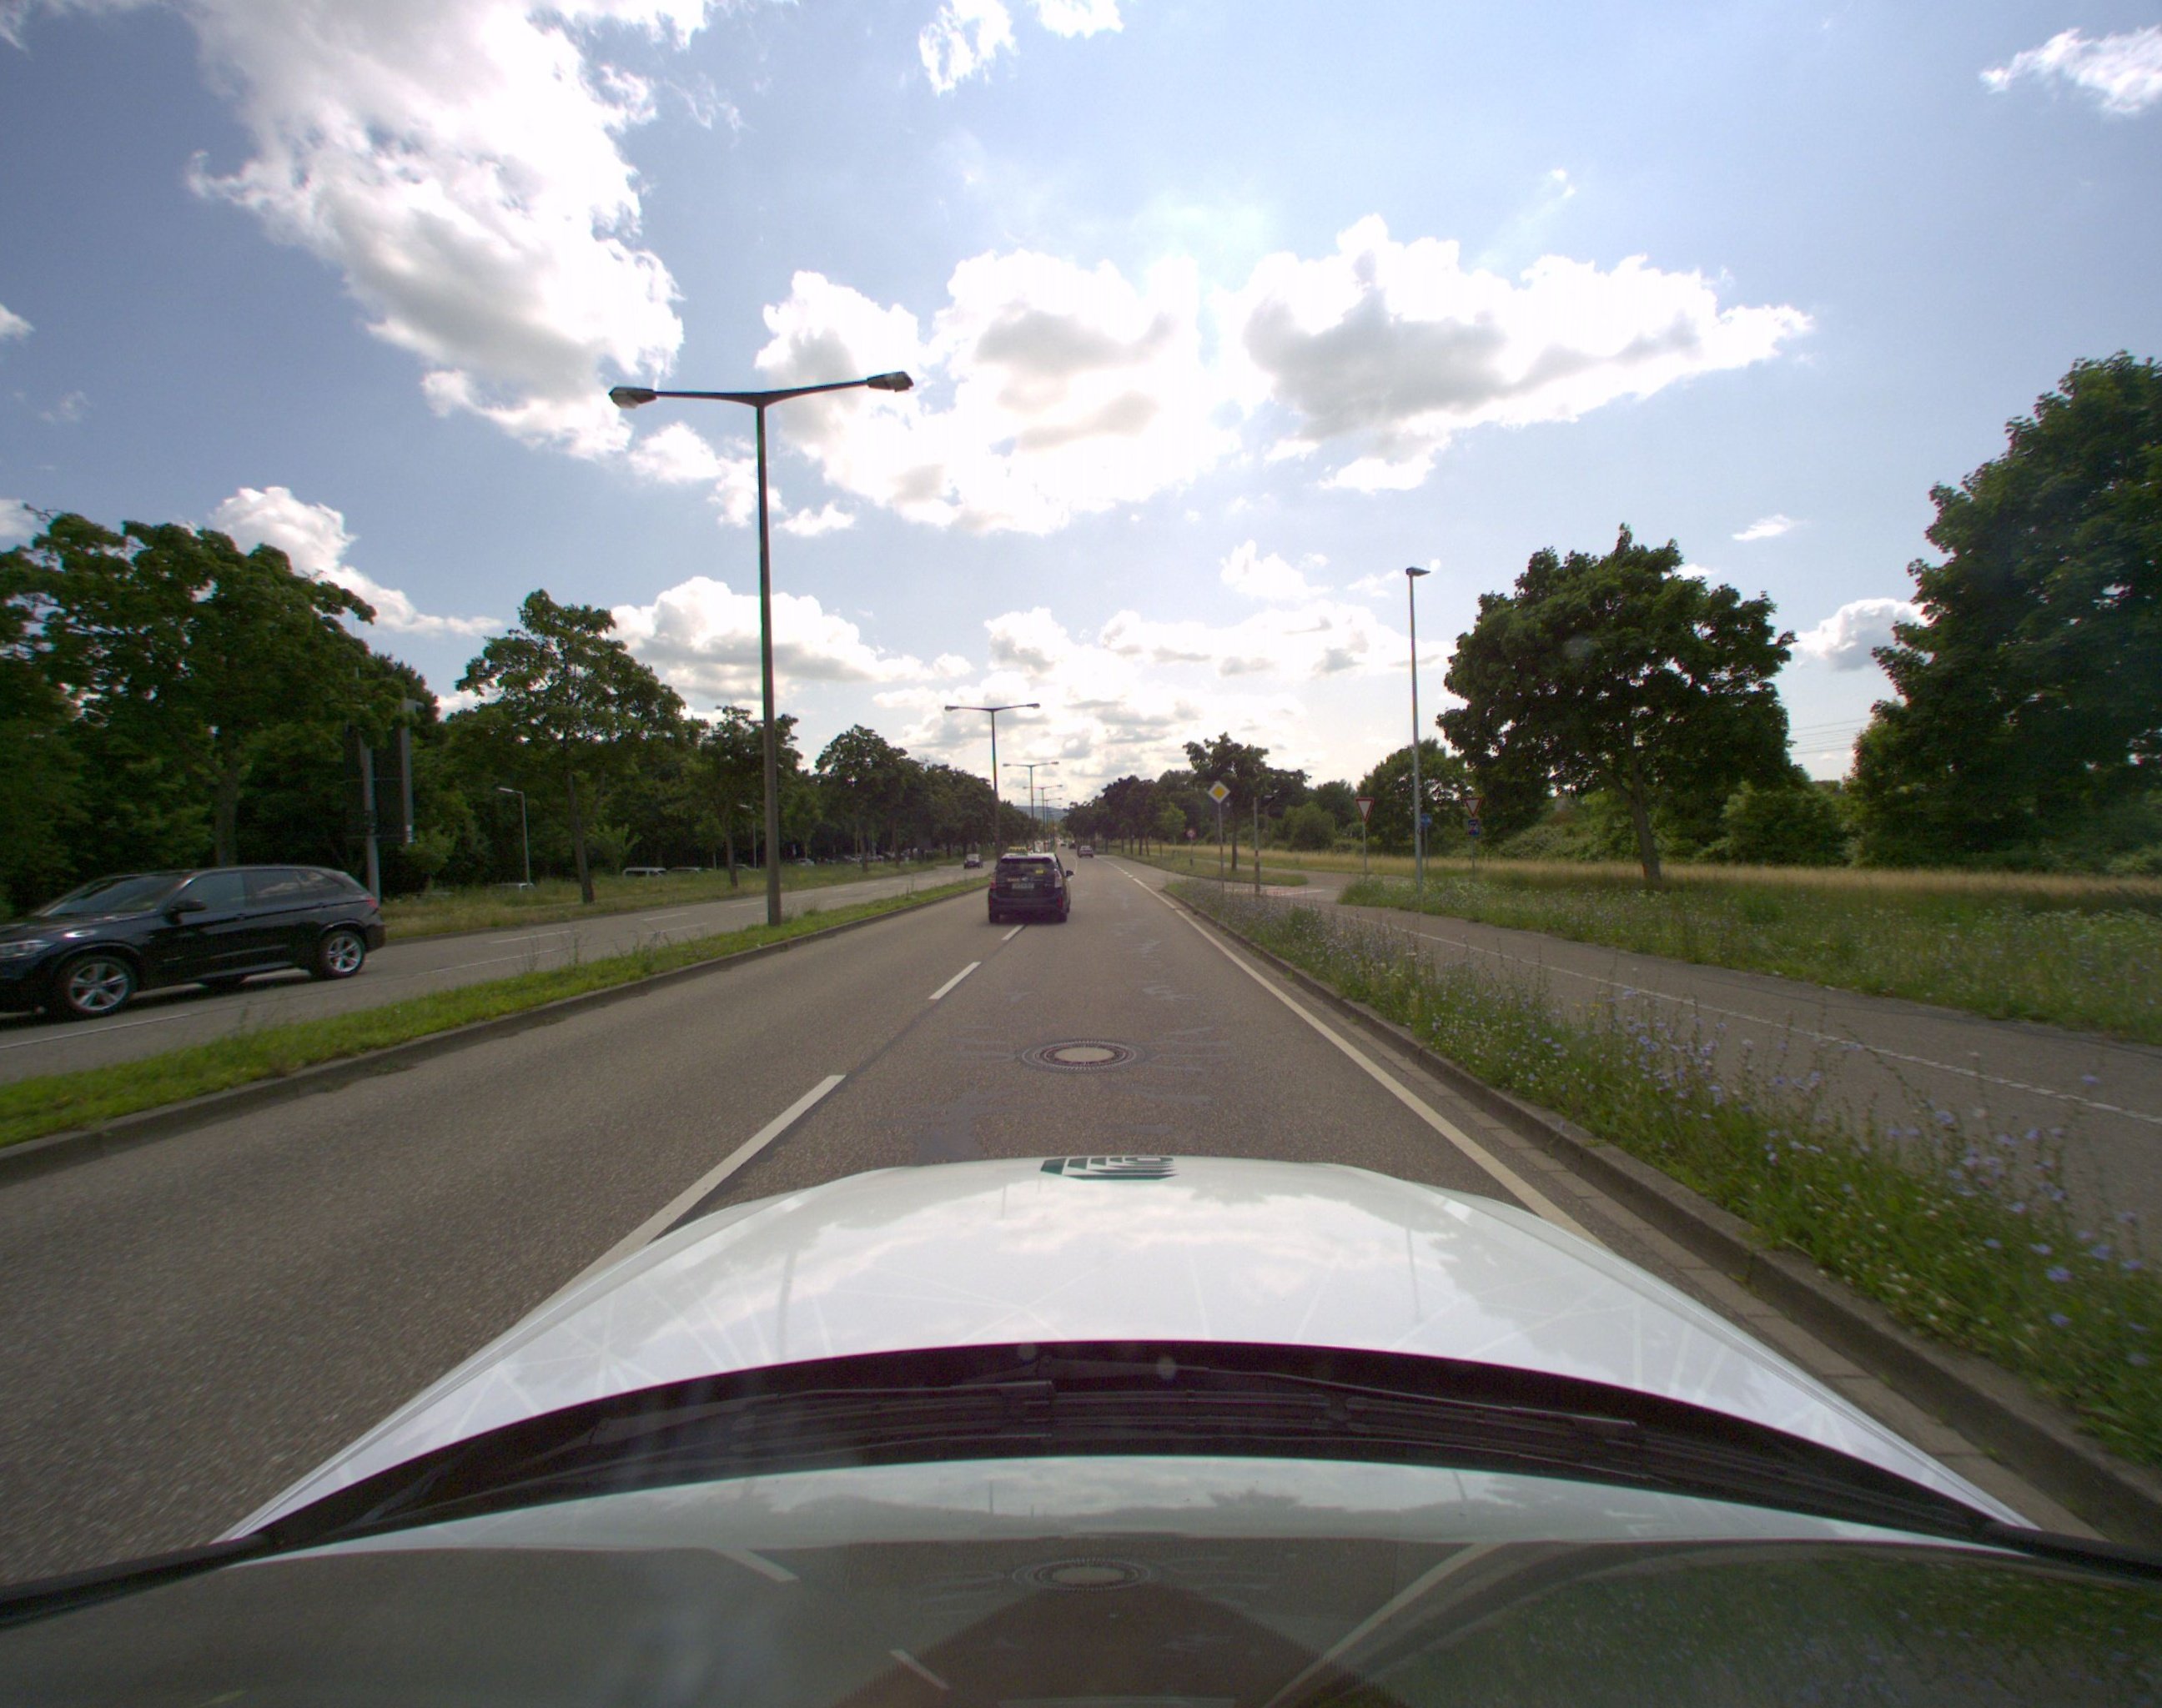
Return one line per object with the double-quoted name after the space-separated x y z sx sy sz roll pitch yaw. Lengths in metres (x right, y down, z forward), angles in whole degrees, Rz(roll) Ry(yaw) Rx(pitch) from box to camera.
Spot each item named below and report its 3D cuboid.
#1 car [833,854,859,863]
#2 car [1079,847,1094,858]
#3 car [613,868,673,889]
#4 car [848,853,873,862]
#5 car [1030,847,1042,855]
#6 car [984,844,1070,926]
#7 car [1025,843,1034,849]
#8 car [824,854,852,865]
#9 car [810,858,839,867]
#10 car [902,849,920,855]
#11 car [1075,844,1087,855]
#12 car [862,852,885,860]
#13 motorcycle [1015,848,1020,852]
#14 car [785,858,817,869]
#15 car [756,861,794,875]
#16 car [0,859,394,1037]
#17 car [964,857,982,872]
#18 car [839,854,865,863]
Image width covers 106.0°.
-38.735 0.788 134.430 3.769 1.387 1.787 0 1 3 "car"
0.829 -0.186 118.974 1.988 1.508 3.997 0 1 -2 "car"
-37.120 2.031 69.105 3.977 1.625 1.998 0 1 -3 "car"
-38.962 0.615 144.061 3.769 1.387 1.787 0 1 3 "car"
-8.205 -0.535 149.183 1.805 1.398 4.733 -2 1 0 "car"
-1.165 0.630 19.341 1.774 1.683 4.000 0 1 0 "car"
-14.037 -2.168 221.369 1.872 1.508 3.801 0 1 3 "car"
-38.385 0.834 128.692 3.769 1.568 1.787 0 1 3 "car"
-38.170 1.195 121.138 3.774 1.247 1.785 0 1 -1 "car"
-39.721 -0.490 190.164 3.769 1.387 1.787 0 1 3 "car"
0.060 -0.738 133.788 1.987 1.661 4.000 0 1 0 "car"
-38.953 0.411 152.932 3.769 1.387 1.787 0 1 3 "car"
-11.782 -0.730 152.109 0.749 0.772 2.671 0 1 0 "motorcycle"
-38.109 1.261 110.846 3.774 1.428 1.785 0 1 -1 "car"
-35.876 1.656 95.475 3.772 1.508 1.786 0 1 0 "car"
-12.022 1.038 10.685 1.870 1.790 4.728 -4 0 1 "car"
-10.939 1.044 82.488 1.701 1.427 3.663 -2 0 -9 "car"
-38.723 0.760 137.875 3.769 1.387 1.787 0 1 3 "car"
